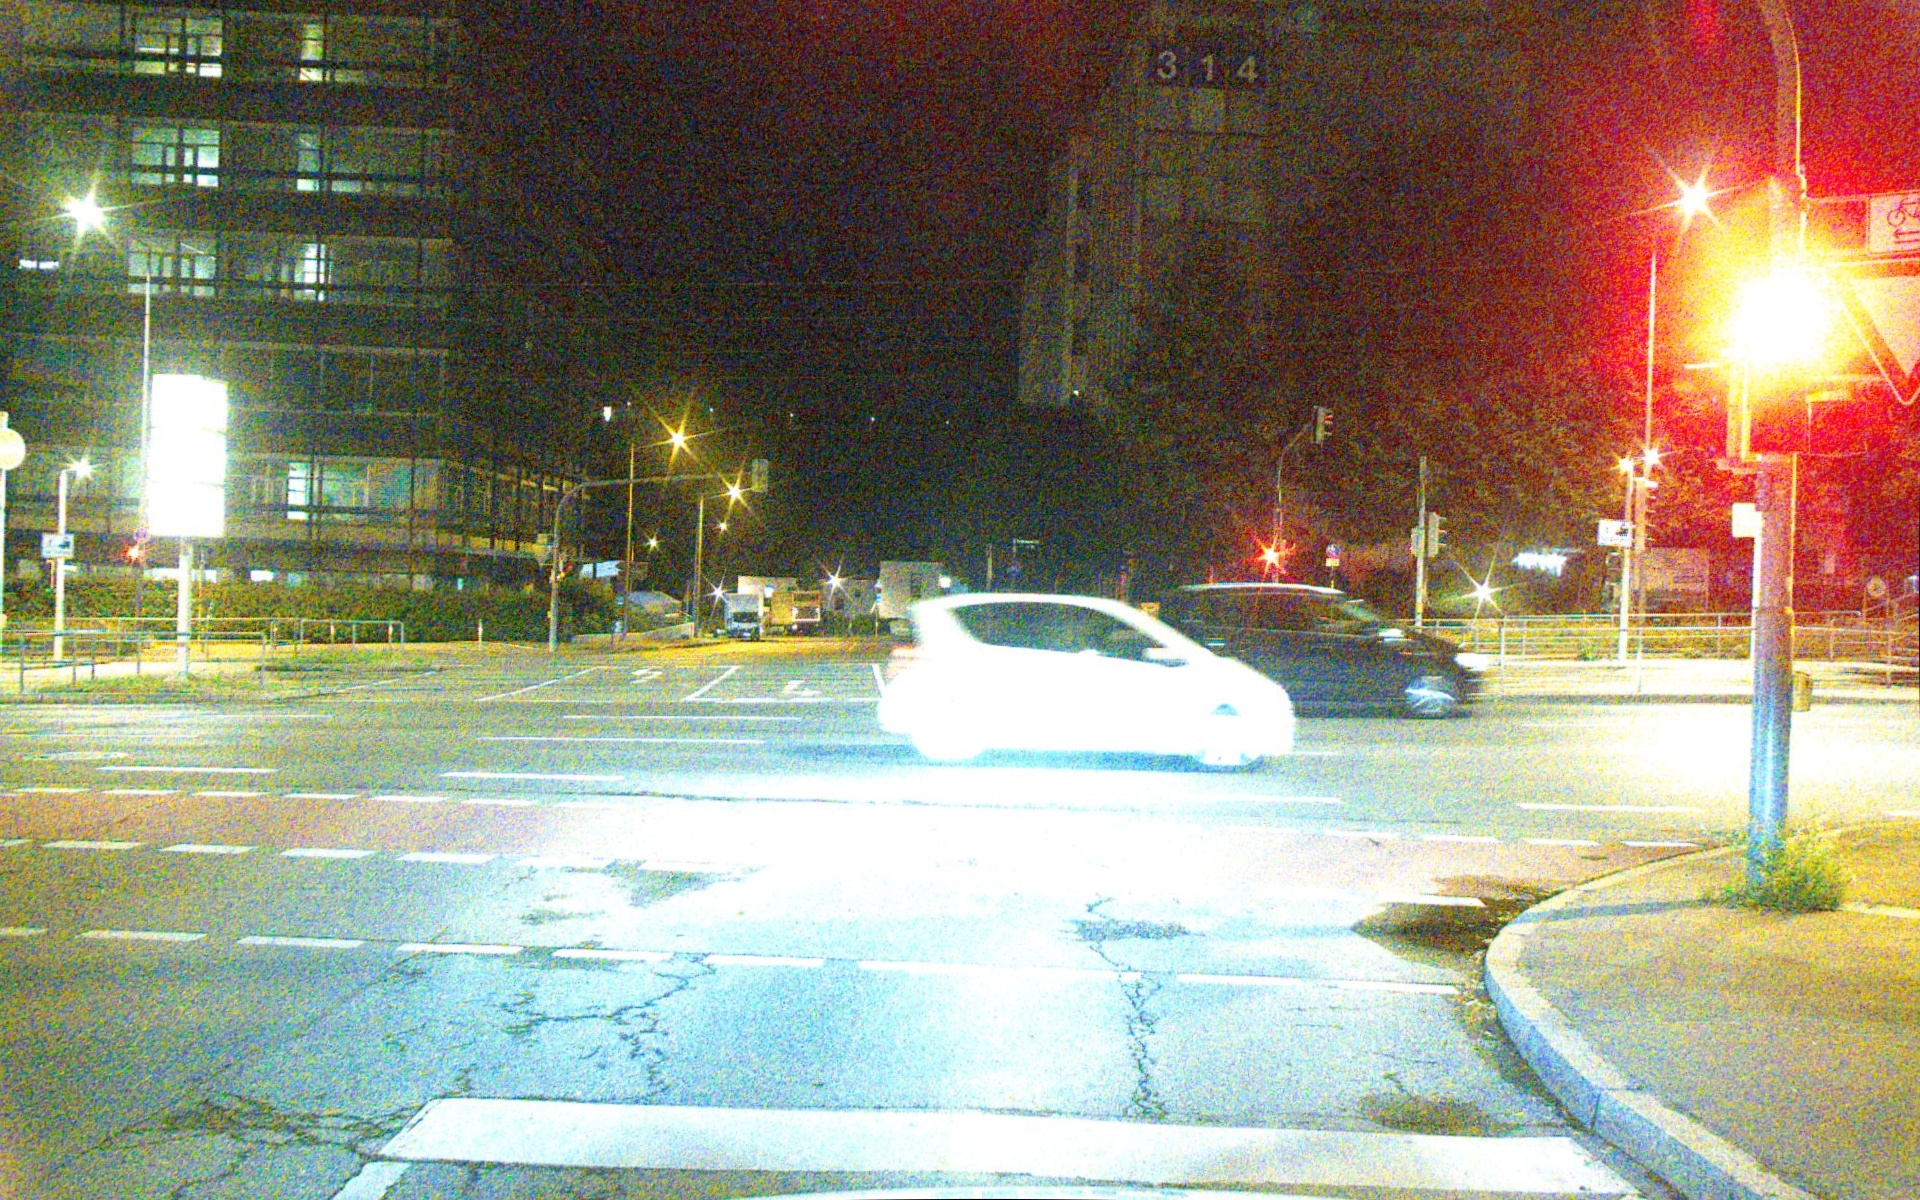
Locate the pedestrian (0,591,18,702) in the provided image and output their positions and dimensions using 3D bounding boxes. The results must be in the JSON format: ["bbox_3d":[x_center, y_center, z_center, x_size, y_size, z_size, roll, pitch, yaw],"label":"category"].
[{"bbox_3d":[-14.736,0.688,24.869,0.656,1.663,0.862,1,-1,-5],"label":"pedestrian"}]

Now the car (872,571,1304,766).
[{"bbox_3d":[1.200,0.615,15.970,3.904,1.691,1.811,1,0,3],"label":"car"}]

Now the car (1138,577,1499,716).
[{"bbox_3d":[4.568,0.575,21.579,4.353,1.688,1.865,0,1,2],"label":"car"}]

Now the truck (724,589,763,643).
[{"bbox_3d":[-15.605,1.132,119.113,2.535,3.772,5.724,1,0,-9],"label":"truck"}]

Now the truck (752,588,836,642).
[{"bbox_3d":[-15.302,1.294,150.974,4.751,4.627,12.593,1,0,-19],"label":"truck"}]
